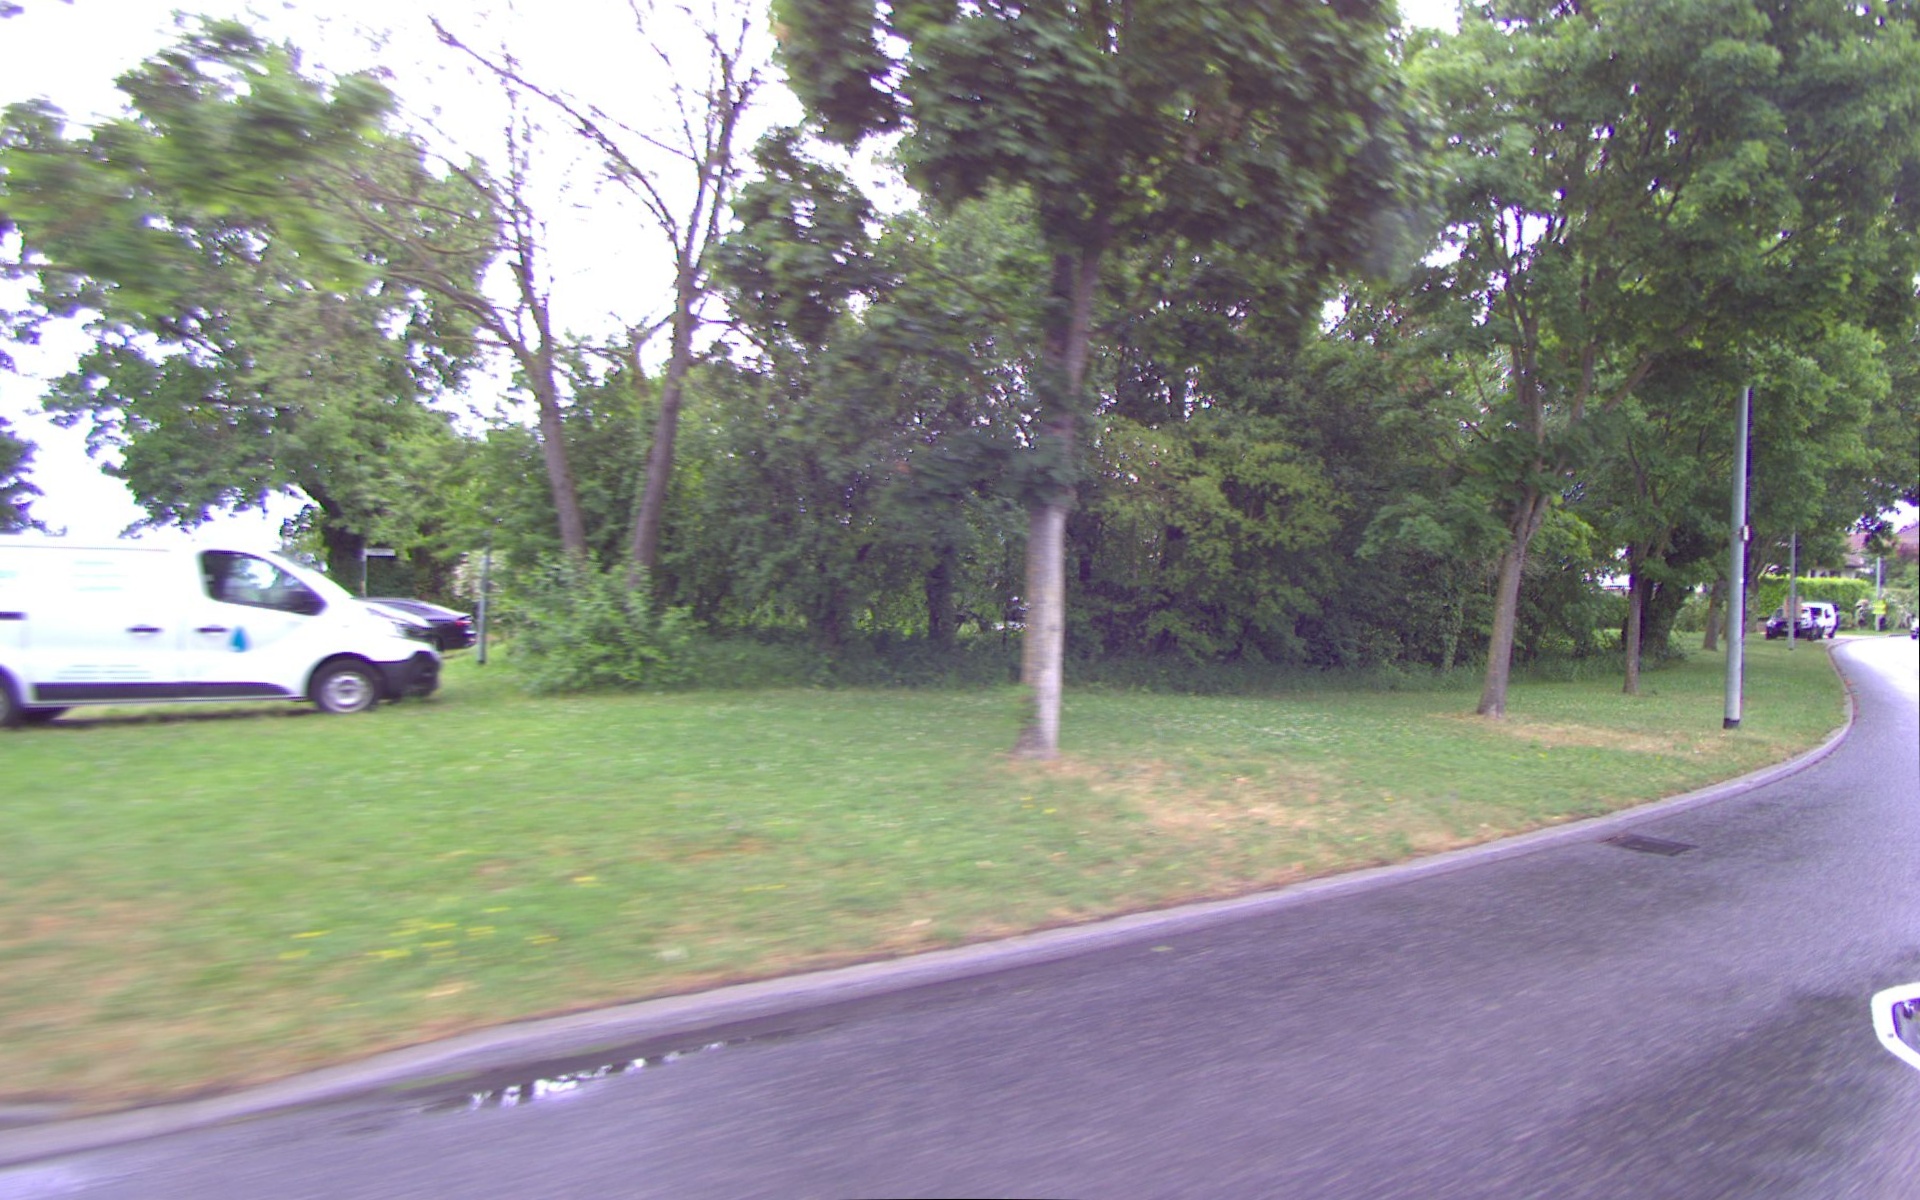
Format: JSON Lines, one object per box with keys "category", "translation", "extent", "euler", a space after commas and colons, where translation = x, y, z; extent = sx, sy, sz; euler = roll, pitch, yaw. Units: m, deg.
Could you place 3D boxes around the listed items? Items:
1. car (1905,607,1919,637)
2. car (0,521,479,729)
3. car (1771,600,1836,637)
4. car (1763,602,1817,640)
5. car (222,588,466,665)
{"category": "car", "translation": [55.432, 1.283, 57.471], "extent": [4.065, 1.558, 1.771], "euler": [-1, 4, -45]}
{"category": "car", "translation": [-8.432, 0.234, 11.294], "extent": [5.402, 2.013, 2.120], "euler": [-1, 0, -26]}
{"category": "car", "translation": [44.622, 0.984, 53.105], "extent": [4.335, 1.820, 1.784], "euler": [1, 2, -39]}
{"category": "car", "translation": [40.905, 1.025, 49.449], "extent": [1.731, 1.662, 4.566], "euler": [4, 2, 43]}
{"category": "car", "translation": [-13.568, 0.530, 22.500], "extent": [4.420, 1.529, 2.120], "euler": [-1, 1, -26]}
